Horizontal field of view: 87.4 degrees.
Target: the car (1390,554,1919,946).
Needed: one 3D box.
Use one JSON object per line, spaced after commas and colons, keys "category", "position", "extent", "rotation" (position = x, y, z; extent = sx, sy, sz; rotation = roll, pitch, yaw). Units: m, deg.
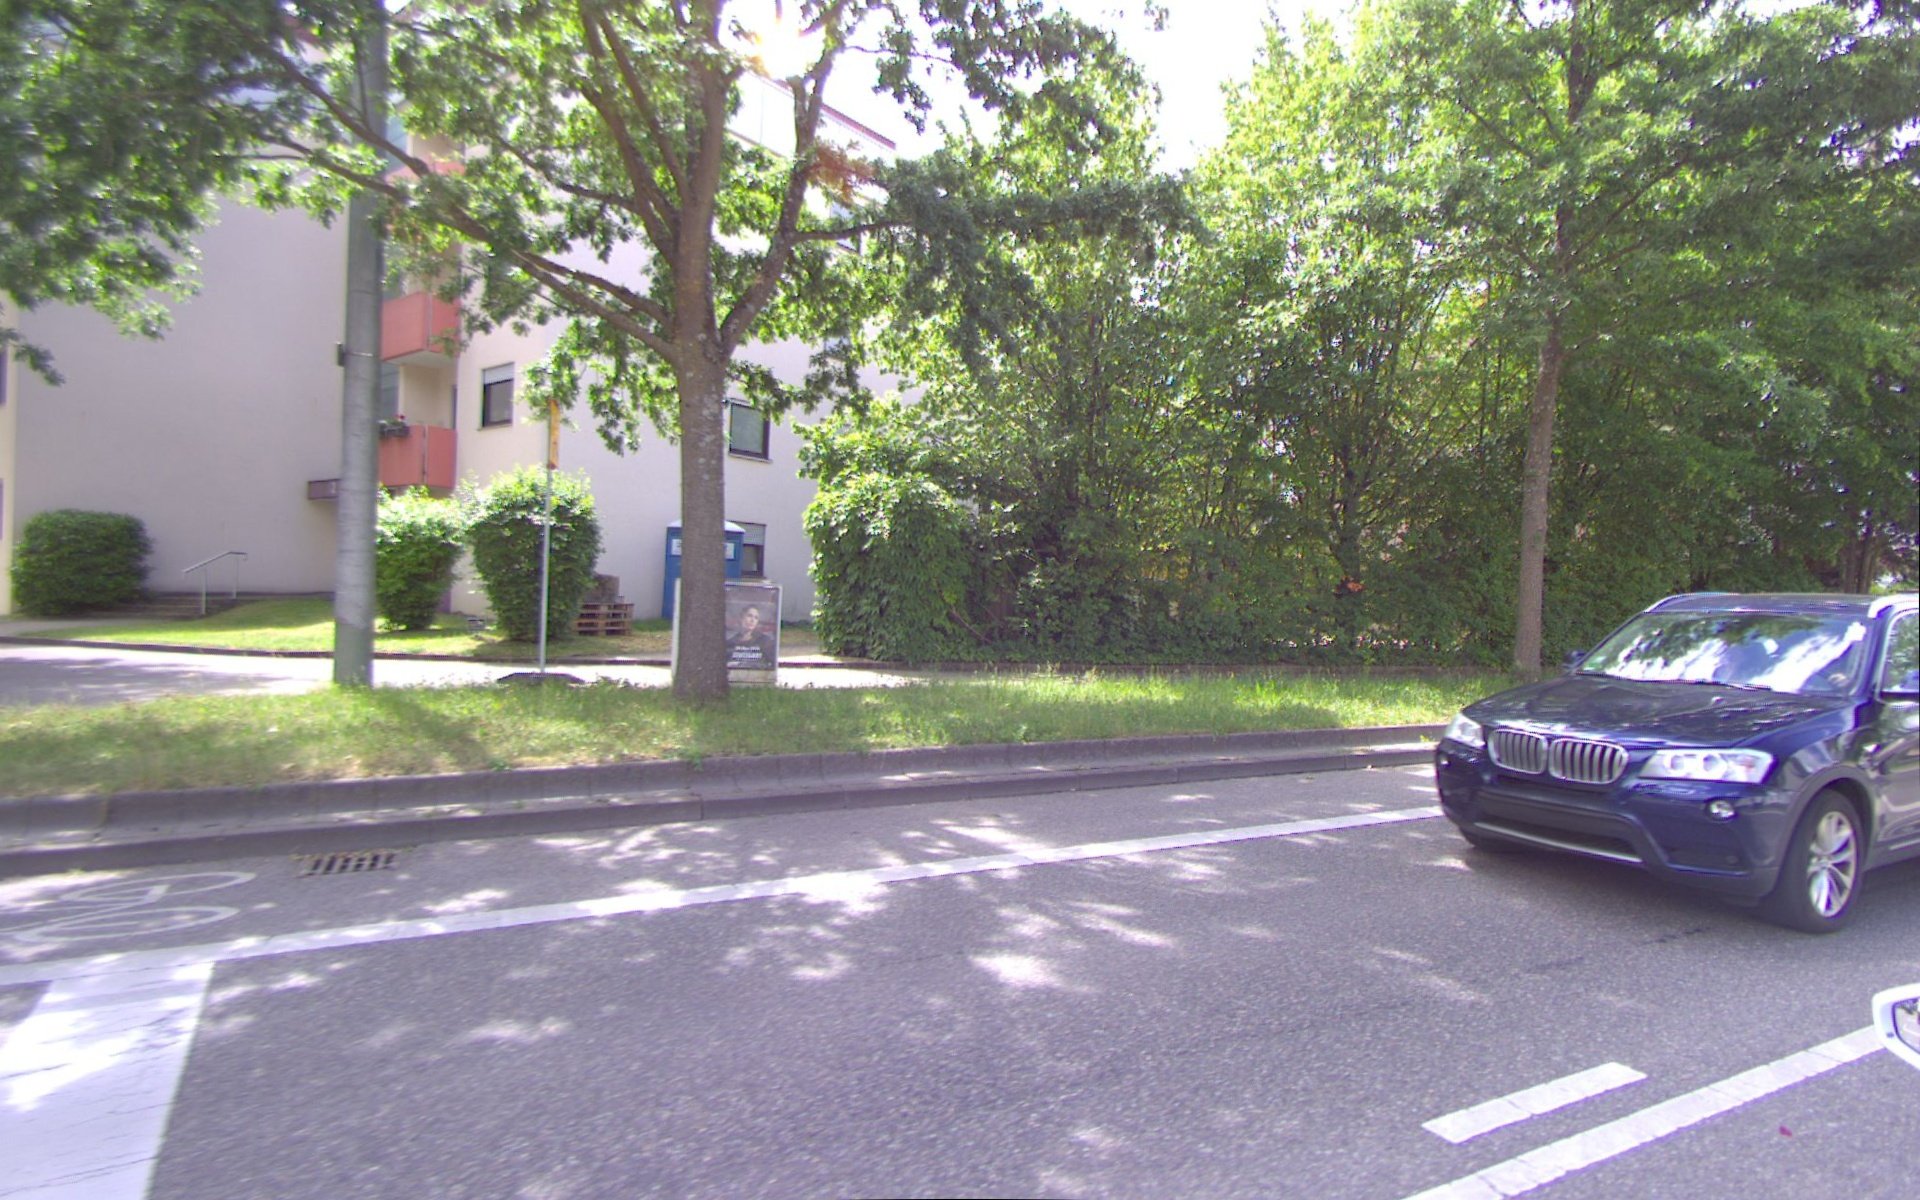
{"category": "car", "position": [4.879, 0.708, 6.216], "extent": [4.194, 1.710, 1.872], "rotation": [2, -1, -28]}
